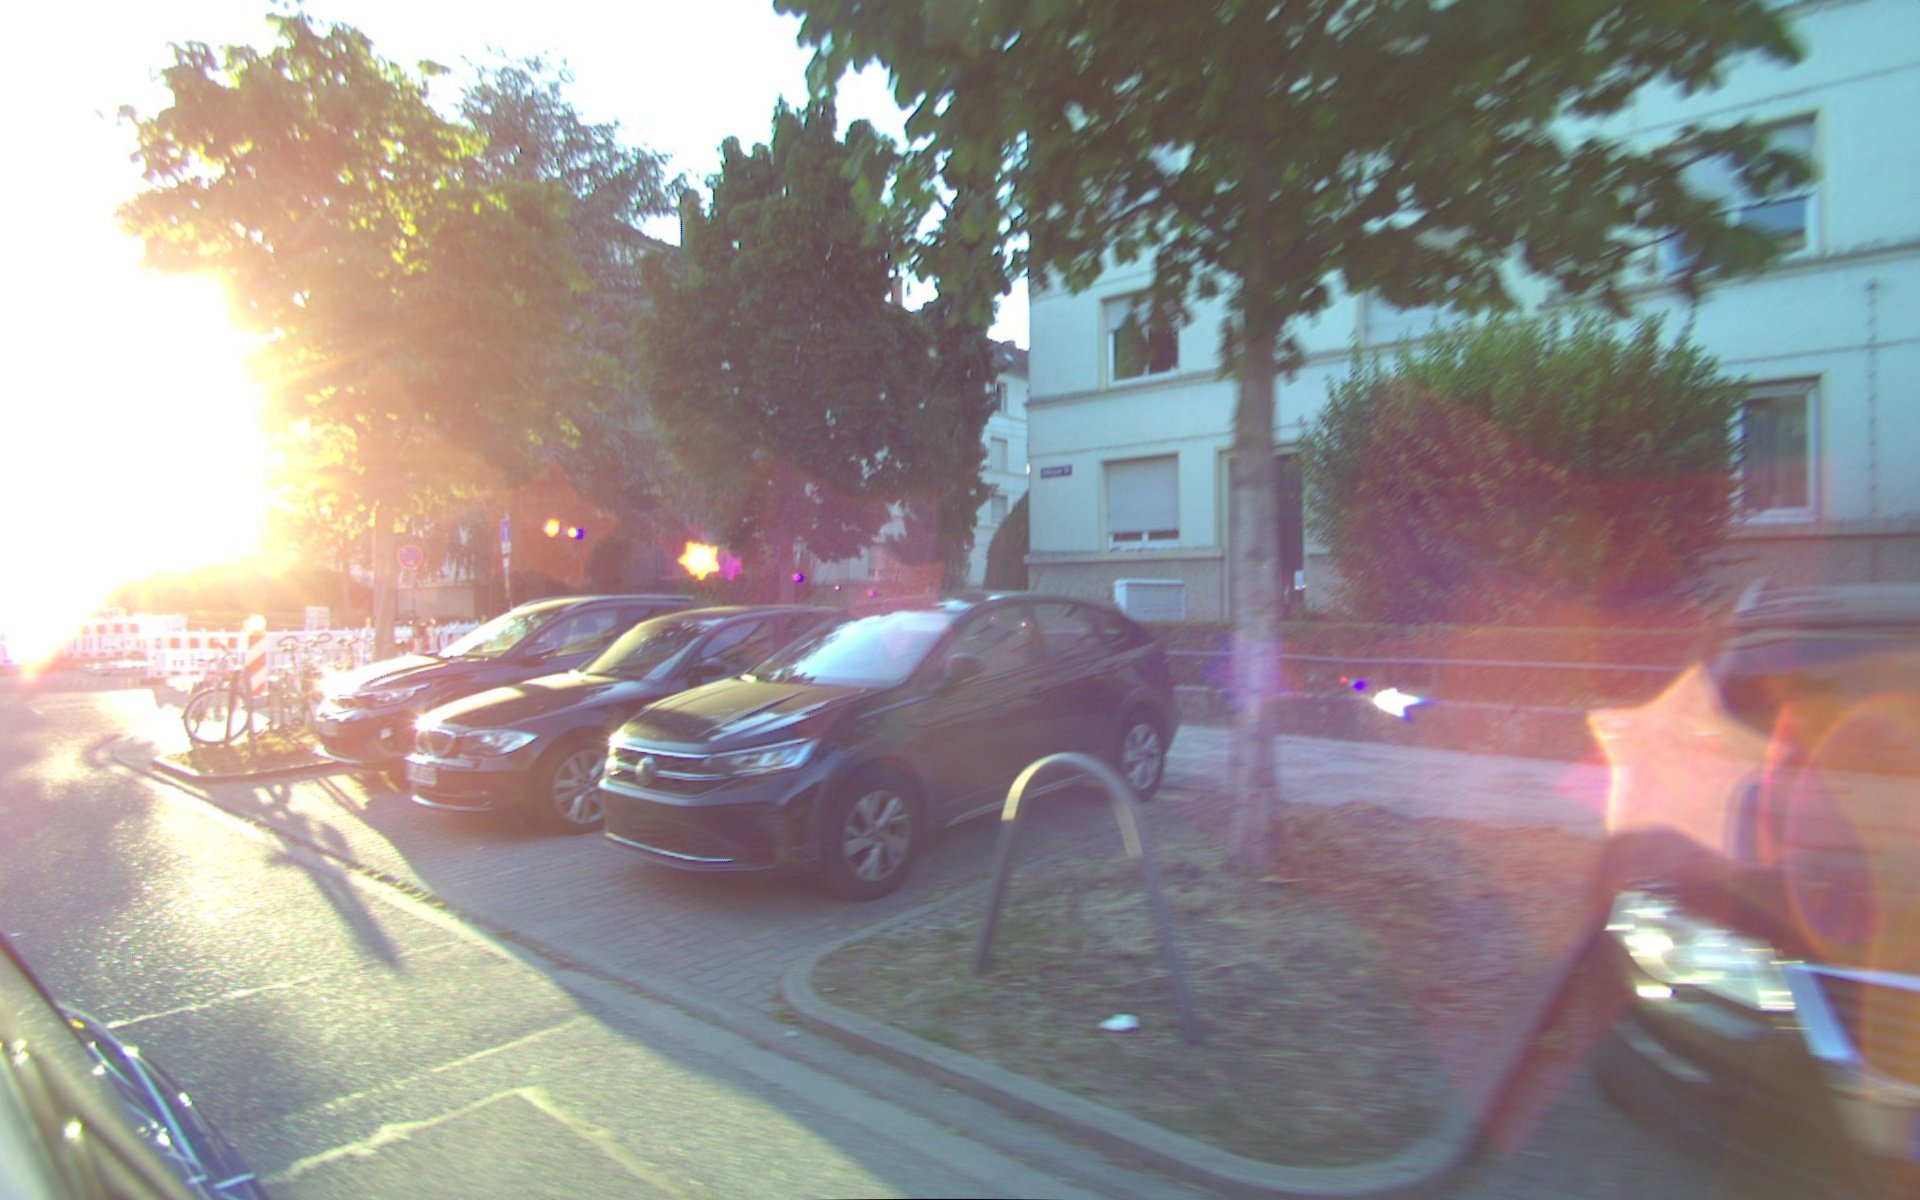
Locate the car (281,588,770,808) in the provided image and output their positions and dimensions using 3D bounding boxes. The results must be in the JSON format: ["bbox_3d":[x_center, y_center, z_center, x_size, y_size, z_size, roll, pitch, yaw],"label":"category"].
[{"bbox_3d":[-3.971,0.734,9.751,1.728,1.553,3.944,-1,2,42],"label":"car"}]

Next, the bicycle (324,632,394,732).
[{"bbox_3d":[-7.591,1.007,12.763,1.525,1.167,0.276,-1,0,41],"label":"bicycle"}]

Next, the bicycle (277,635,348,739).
[{"bbox_3d":[-7.834,1.016,12.226,1.525,1.167,0.276,-1,0,41],"label":"bicycle"}]

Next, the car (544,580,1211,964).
[{"bbox_3d":[-0.215,0.698,6.272,1.728,1.495,3.989,-1,2,42],"label":"car"}]

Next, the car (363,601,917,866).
[{"bbox_3d":[-2.235,0.787,7.859,1.606,1.395,3.802,-1,2,41],"label":"car"}]

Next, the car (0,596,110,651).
[{"bbox_3d":[-37.511,0.939,40.889,2.001,2.085,4.720,-1,0,45],"label":"car"}]

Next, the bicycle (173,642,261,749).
[{"bbox_3d":[-8.539,1.063,11.612,1.628,1.104,0.442,-1,0,41],"label":"bicycle"}]

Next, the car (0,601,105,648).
[{"bbox_3d":[-35.736,0.939,39.033,2.001,1.696,4.074,-1,0,45],"label":"car"}]

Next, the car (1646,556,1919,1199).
[{"bbox_3d":[3.318,0.618,3.322,1.724,1.495,4.470,-1,2,35],"label":"car"}]

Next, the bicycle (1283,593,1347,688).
[{"bbox_3d":[5.329,0.562,15.129,0.441,1.328,1.875,-1,0,33],"label":"bicycle"}]

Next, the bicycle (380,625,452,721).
[{"bbox_3d":[-7.053,0.921,13.097,1.525,1.167,0.276,-1,0,41],"label":"bicycle"}]
